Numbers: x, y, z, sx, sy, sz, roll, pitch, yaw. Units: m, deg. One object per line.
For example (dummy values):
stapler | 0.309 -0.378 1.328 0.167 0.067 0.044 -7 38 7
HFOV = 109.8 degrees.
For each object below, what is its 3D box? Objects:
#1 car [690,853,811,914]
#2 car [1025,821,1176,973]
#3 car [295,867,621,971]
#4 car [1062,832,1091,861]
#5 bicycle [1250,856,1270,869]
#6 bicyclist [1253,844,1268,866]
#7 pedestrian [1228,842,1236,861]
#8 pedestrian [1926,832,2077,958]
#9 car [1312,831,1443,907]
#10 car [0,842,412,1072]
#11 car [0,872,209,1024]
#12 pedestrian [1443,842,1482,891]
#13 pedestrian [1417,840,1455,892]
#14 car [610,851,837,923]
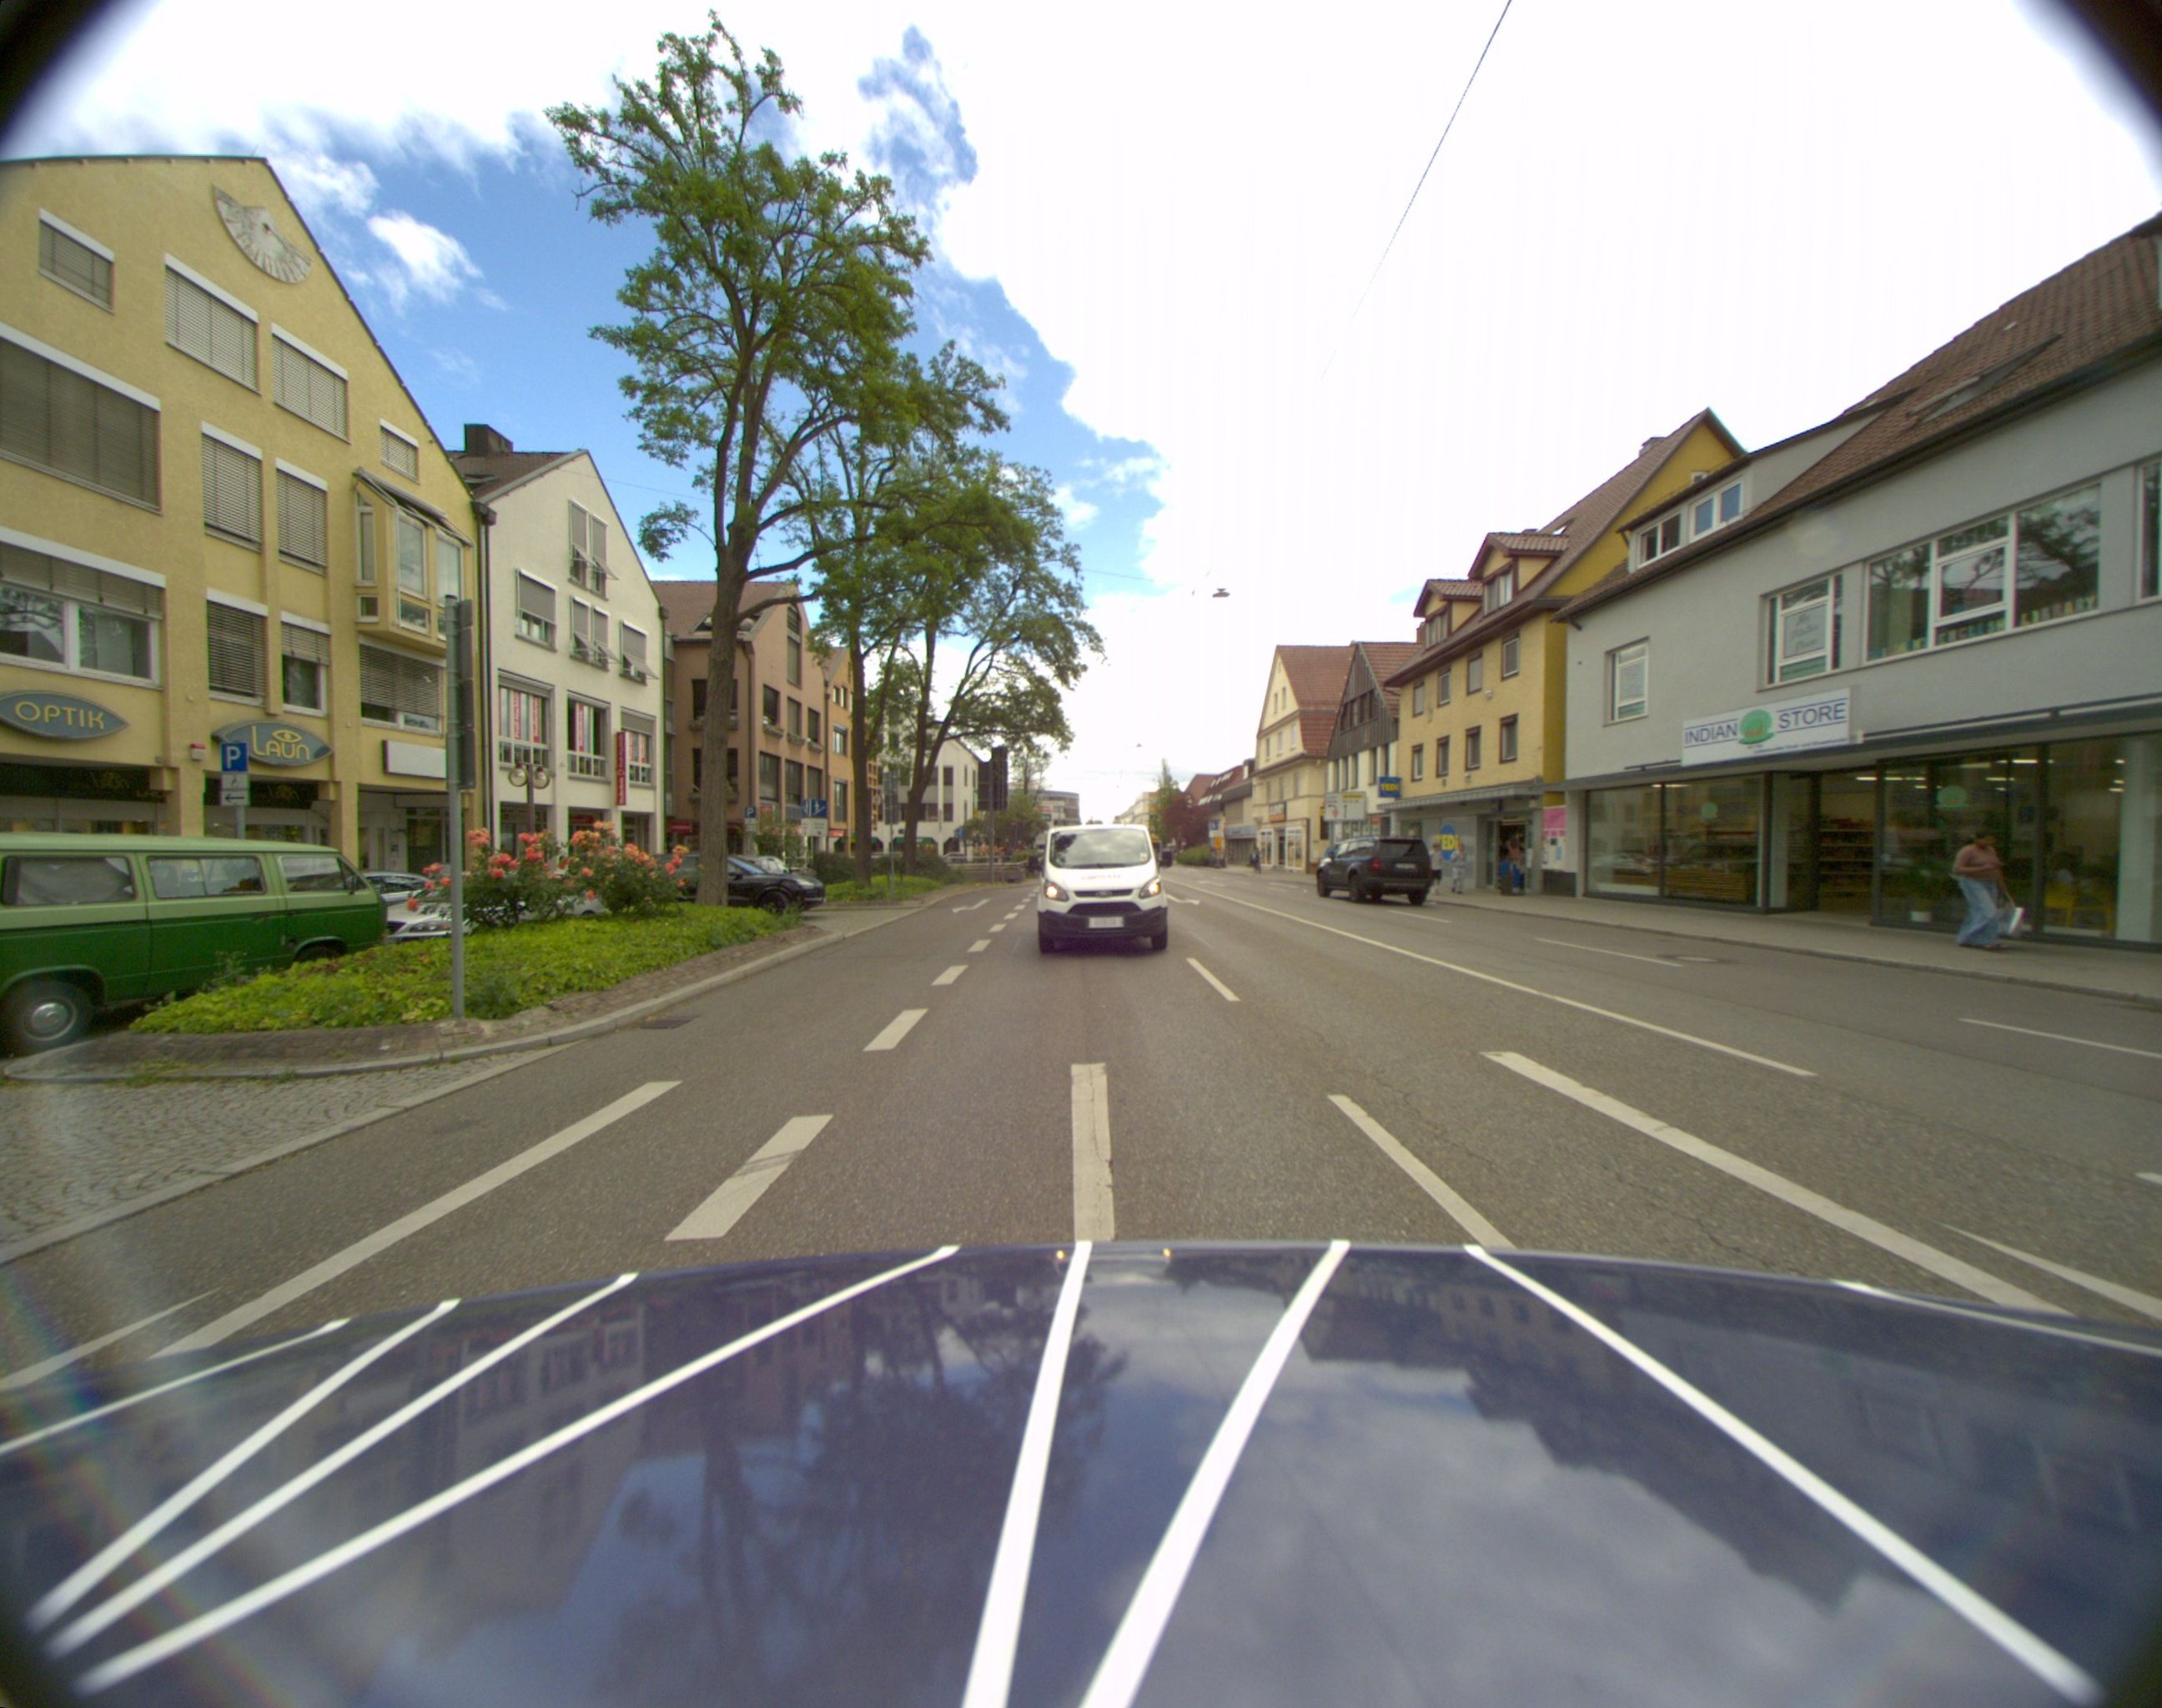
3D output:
car | -10.299 0.835 24.146 1.999 1.645 4.751 1 1 -3
car | 0.277 0.553 13.093 1.940 1.968 5.779 -2 1 0
car | -10.290 0.969 13.182 1.843 1.302 4.752 1 1 -2
car | -0.316 -0.539 55.804 1.940 1.968 5.779 -2 1 0
bicycle | 11.637 0.538 49.369 0.773 0.818 2.239 0 1 0
bicyclist | 11.643 0.060 49.363 0.773 1.415 0.752 0 1 -1
pedestrian | 15.202 -0.224 76.623 0.673 1.891 0.678 0 1 0
pedestrian | 12.676 0.544 10.500 1.001 1.657 0.872 -1 1 1
car | 8.515 0.367 22.373 1.928 1.957 4.769 1 1 0
car | -10.048 0.833 7.951 1.999 1.865 4.751 1 1 -2
car | -12.624 1.061 7.799 1.999 1.539 4.751 1 1 -3
pedestrian | 12.380 0.393 24.655 0.812 1.574 0.920 -1 1 1
pedestrian | 11.501 0.381 24.656 0.812 1.652 0.920 -1 1 1
car | -8.740 0.792 18.989 4.754 1.669 1.998 1 0 -8
